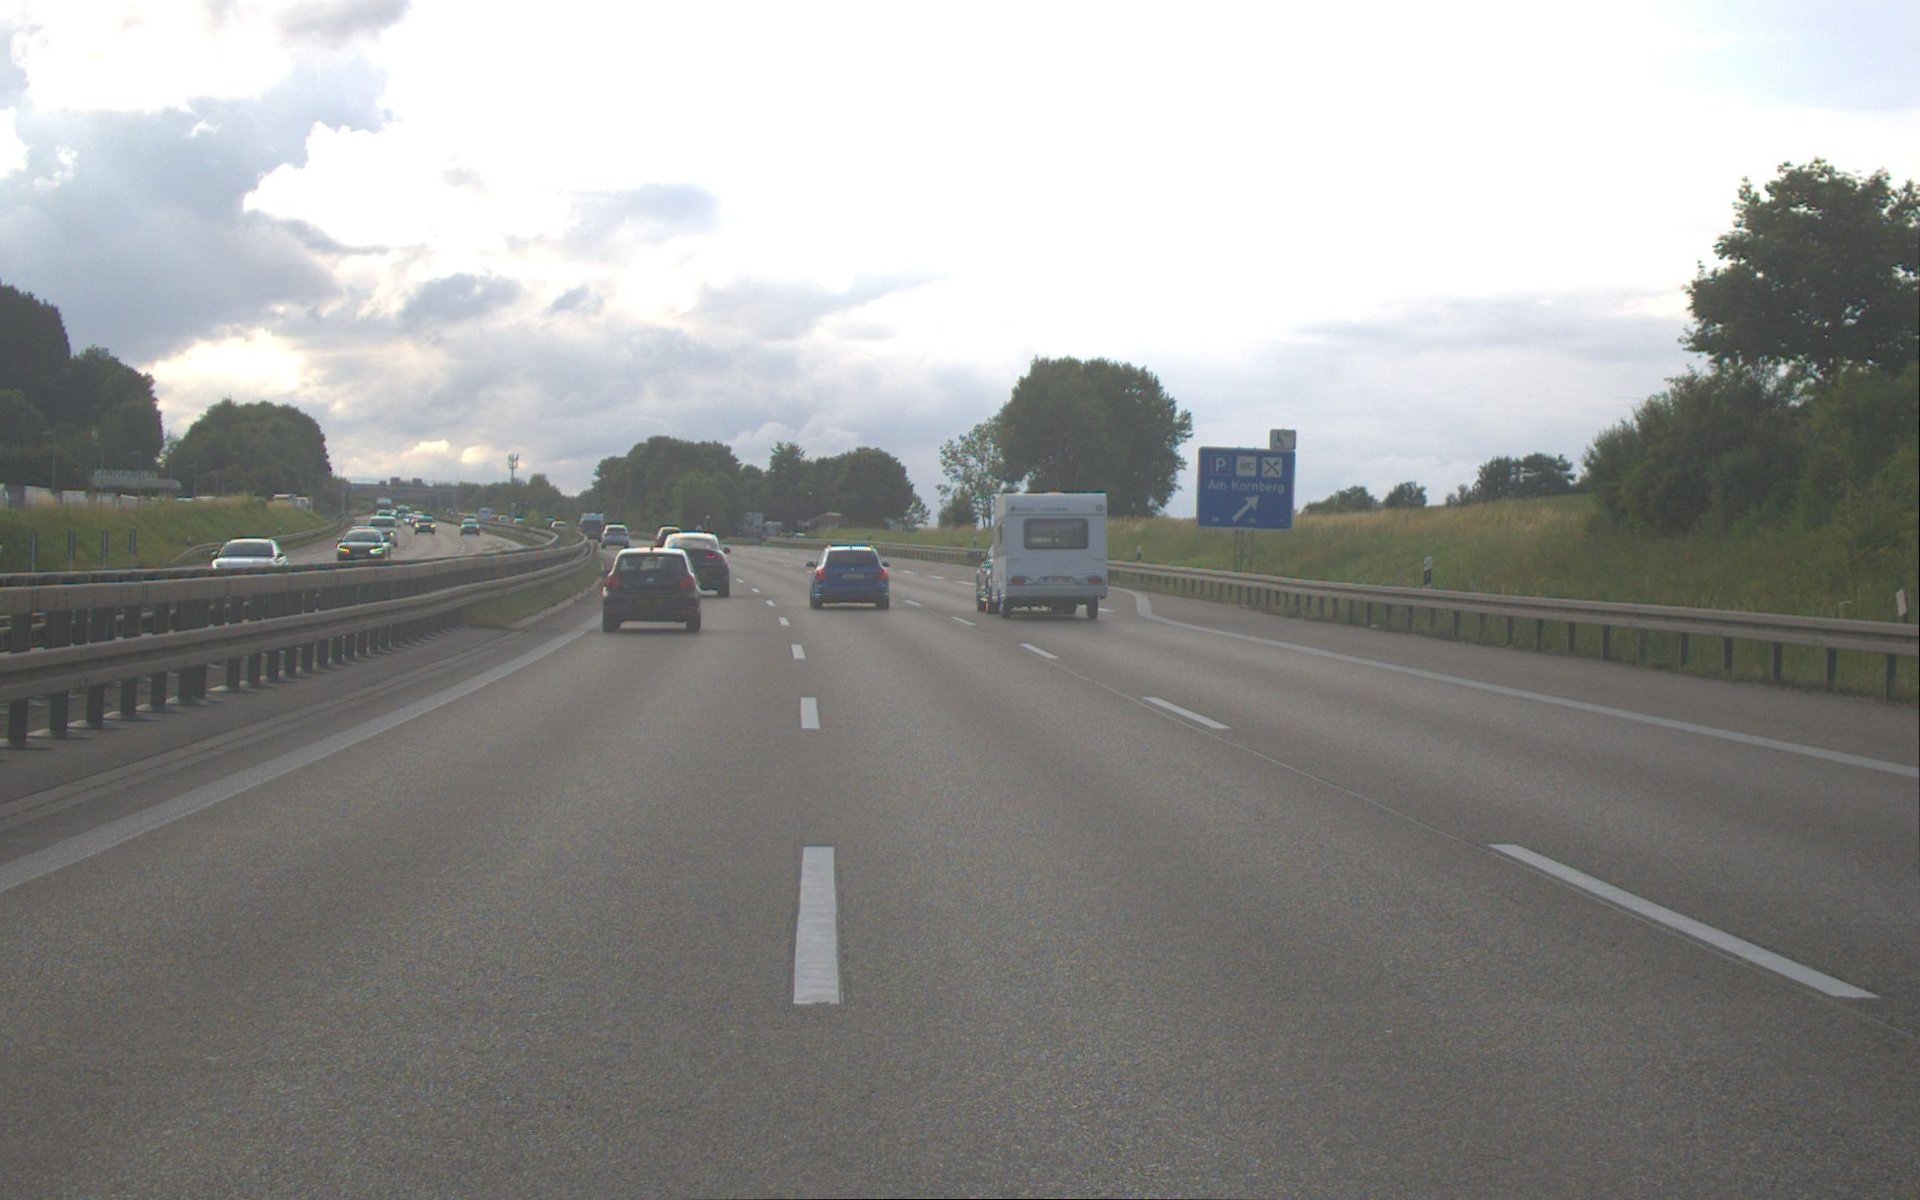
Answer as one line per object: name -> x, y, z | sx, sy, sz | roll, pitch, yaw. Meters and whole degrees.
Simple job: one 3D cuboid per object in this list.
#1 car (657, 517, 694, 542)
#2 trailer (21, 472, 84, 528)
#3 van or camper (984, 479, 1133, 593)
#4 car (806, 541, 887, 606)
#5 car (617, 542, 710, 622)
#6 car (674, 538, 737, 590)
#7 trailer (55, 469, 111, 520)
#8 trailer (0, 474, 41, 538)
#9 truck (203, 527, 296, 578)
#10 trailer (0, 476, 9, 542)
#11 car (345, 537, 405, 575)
car -> -18.677, -4.618, 225.842 | 1.957, 1.568, 4.000 | 1, 0, 2
trailer -> -61.051, -6.724, 231.476 | 2.876, 3.683, 10.376 | -1, 2, -8
van or camper -> 1.963, -1.269, 70.384 | 2.547, 2.232, 5.330 | 0, 0, -4
car -> -2.639, -0.624, 79.104 | 1.766, 1.428, 4.001 | -1, 1, -3
car -> -5.174, -0.336, 60.234 | 1.538, 1.343, 3.677 | 0, 1, -4
car -> -6.936, -0.981, 93.383 | 1.565, 1.376, 4.001 | 0, 1, -6
trailer -> -64.606, -7.735, 253.310 | 2.876, 3.683, 10.376 | -1, 2, -8
trailer -> -58.293, -5.704, 210.392 | 2.876, 3.683, 13.680 | -1, 1, -11
truck -> -19.599, -1.326, 94.966 | 1.993, 1.360, 4.647 | 0, 1, -5
trailer -> -54.398, -5.003, 188.125 | 2.876, 3.683, 13.680 | -1, 1, -9
car -> -24.014, -1.798, 141.212 | 1.993, 1.492, 4.693 | -1, 1, -5
